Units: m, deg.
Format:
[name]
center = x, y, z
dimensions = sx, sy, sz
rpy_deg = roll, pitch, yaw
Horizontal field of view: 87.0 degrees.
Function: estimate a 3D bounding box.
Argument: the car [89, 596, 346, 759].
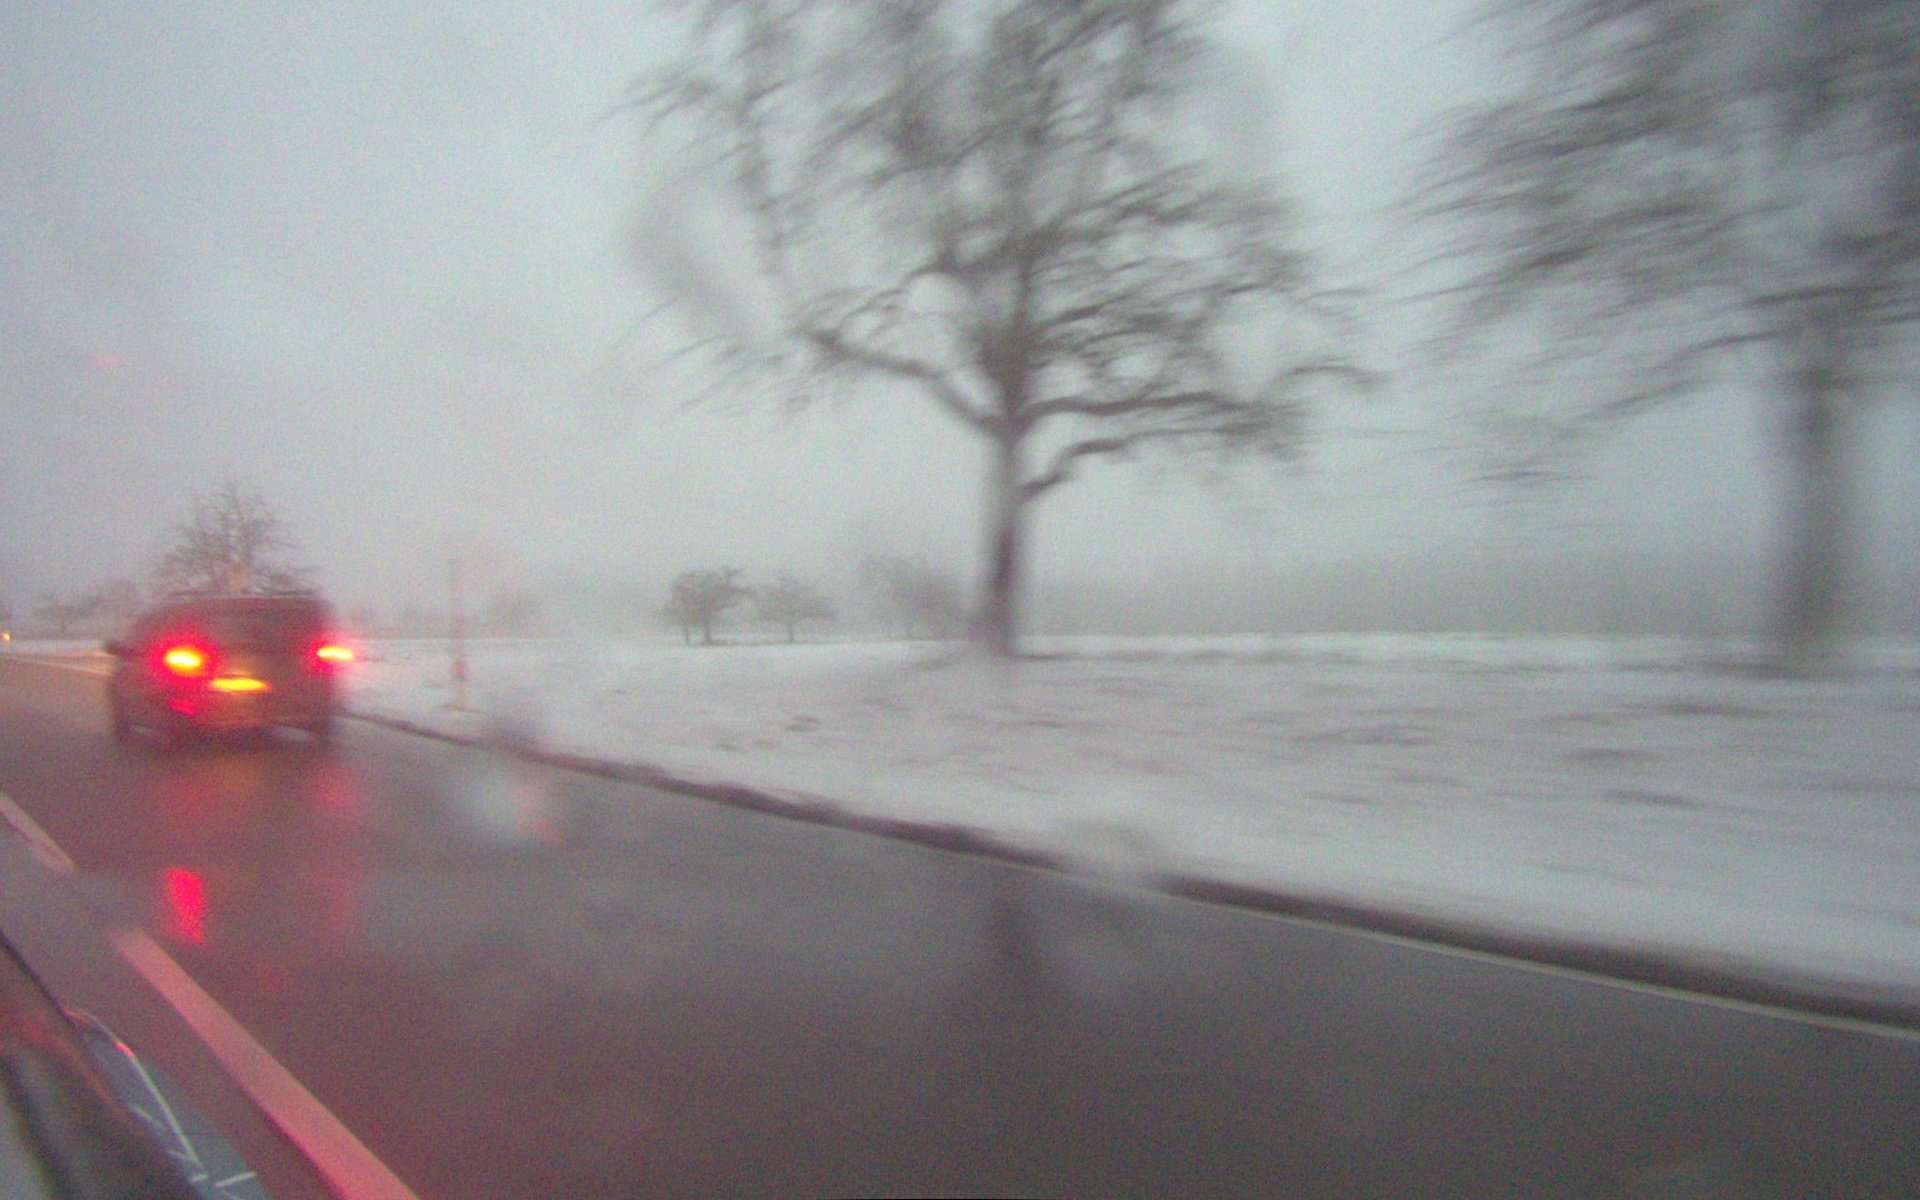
[car]
center = -9.471, 0.877, 12.770
dimensions = 4.424, 1.706, 1.733
rpy_deg = -2, -2, 42
